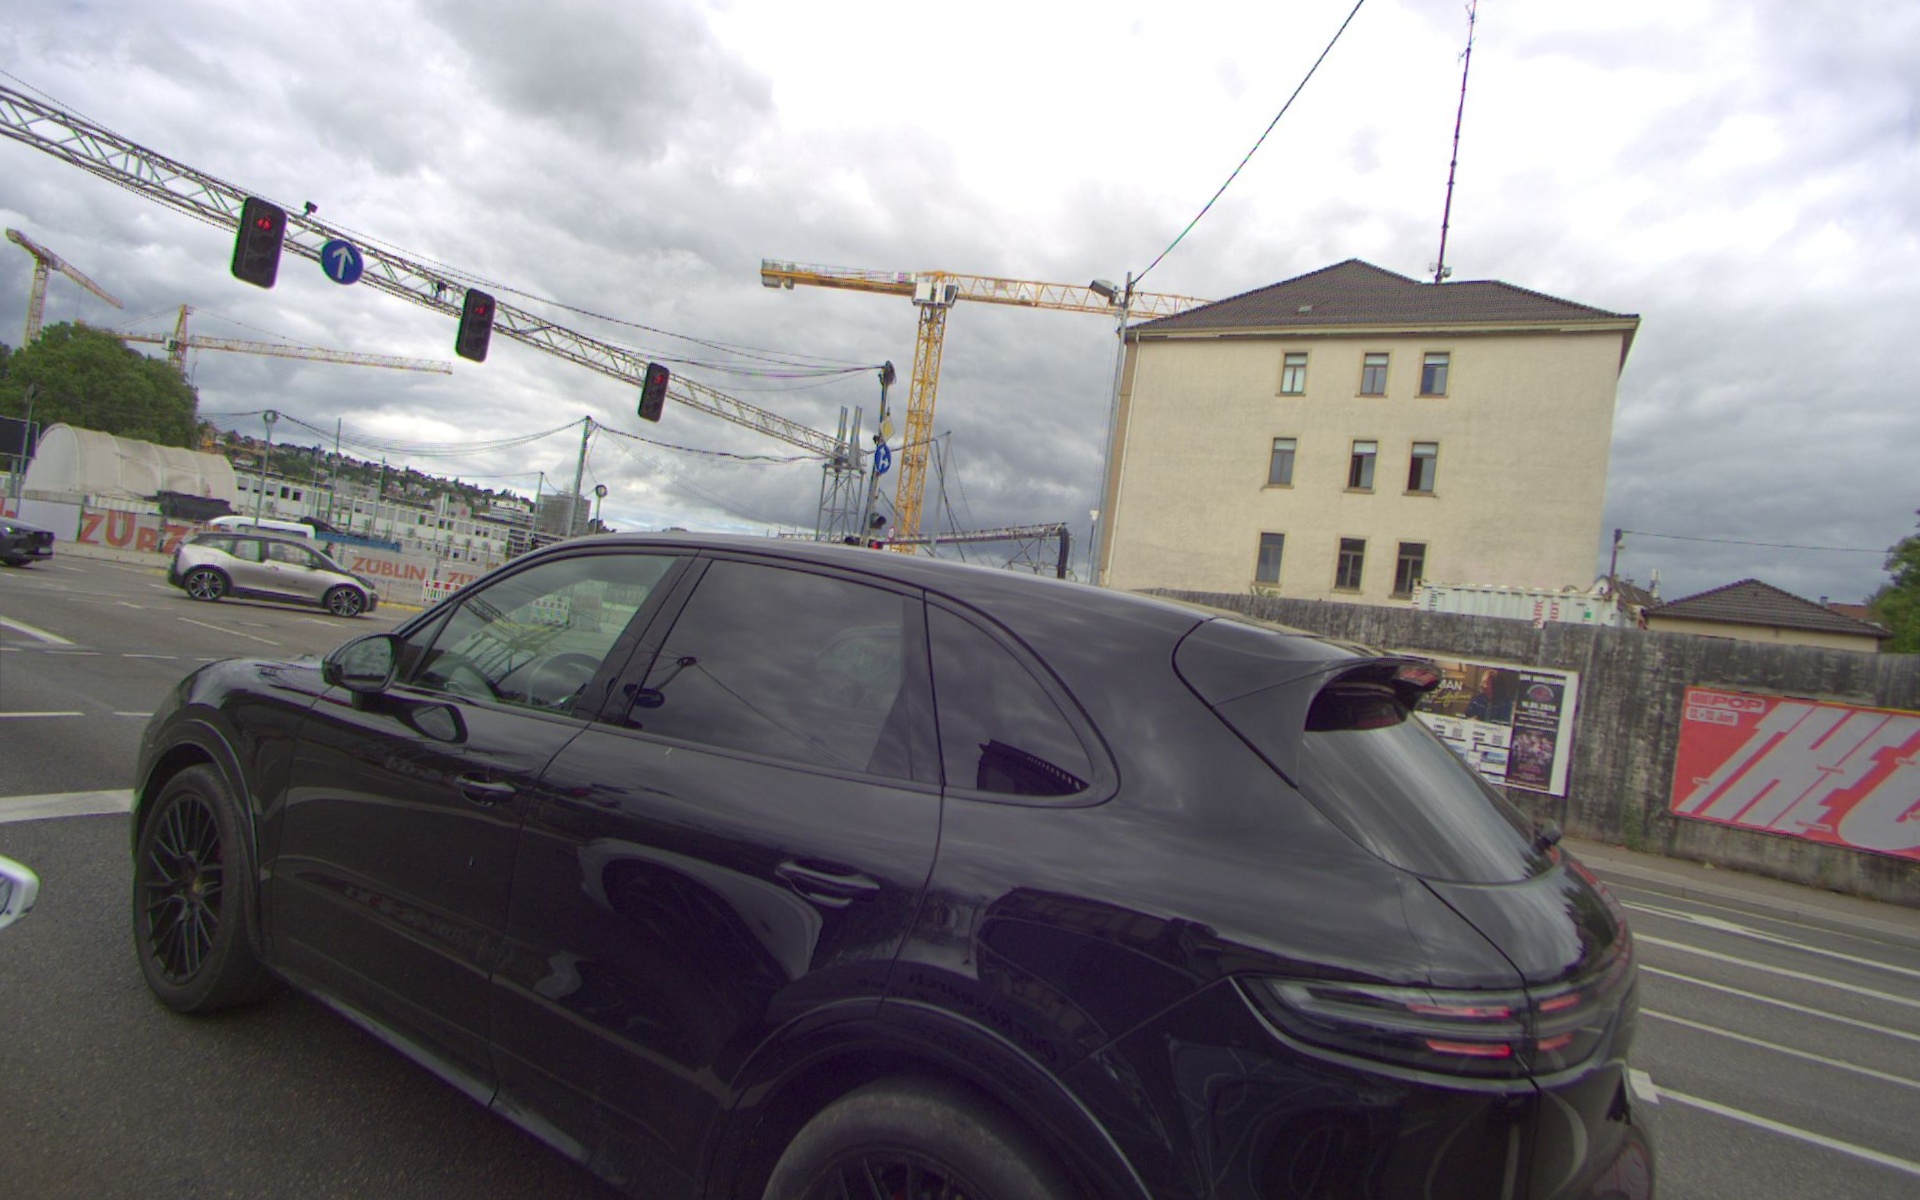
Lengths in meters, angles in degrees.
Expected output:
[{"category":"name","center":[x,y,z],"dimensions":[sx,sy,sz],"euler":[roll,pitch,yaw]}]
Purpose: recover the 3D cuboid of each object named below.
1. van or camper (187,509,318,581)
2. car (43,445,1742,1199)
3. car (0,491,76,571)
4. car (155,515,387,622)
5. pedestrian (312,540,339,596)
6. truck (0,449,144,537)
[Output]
[{"category":"van or camper","center":[-30.660,-2.352,43.672],"dimensions":[4.205,2.384,1.975],"euler":[10,-3,-44]},{"category":"car","center":[-0.675,0.645,3.126],"dimensions":[4.559,1.705,1.959],"euler":[7,-2,33]},{"category":"car","center":[-23.785,-1.901,23.202],"dimensions":[4.548,1.689,1.876],"euler":[9,-2,-20]},{"category":"car","center":[-15.429,-0.675,22.794],"dimensions":[4.029,1.687,1.785],"euler":[10,-2,-33]},{"category":"pedestrian","center":[-24.441,-1.236,38.747],"dimensions":[0.647,2.037,0.513],"euler":[9,-1,-34]},{"category":"truck","center":[-58.728,-7.028,62.094],"dimensions":[3.875,4.086,13.089],"euler":[8,-2,12]}]
